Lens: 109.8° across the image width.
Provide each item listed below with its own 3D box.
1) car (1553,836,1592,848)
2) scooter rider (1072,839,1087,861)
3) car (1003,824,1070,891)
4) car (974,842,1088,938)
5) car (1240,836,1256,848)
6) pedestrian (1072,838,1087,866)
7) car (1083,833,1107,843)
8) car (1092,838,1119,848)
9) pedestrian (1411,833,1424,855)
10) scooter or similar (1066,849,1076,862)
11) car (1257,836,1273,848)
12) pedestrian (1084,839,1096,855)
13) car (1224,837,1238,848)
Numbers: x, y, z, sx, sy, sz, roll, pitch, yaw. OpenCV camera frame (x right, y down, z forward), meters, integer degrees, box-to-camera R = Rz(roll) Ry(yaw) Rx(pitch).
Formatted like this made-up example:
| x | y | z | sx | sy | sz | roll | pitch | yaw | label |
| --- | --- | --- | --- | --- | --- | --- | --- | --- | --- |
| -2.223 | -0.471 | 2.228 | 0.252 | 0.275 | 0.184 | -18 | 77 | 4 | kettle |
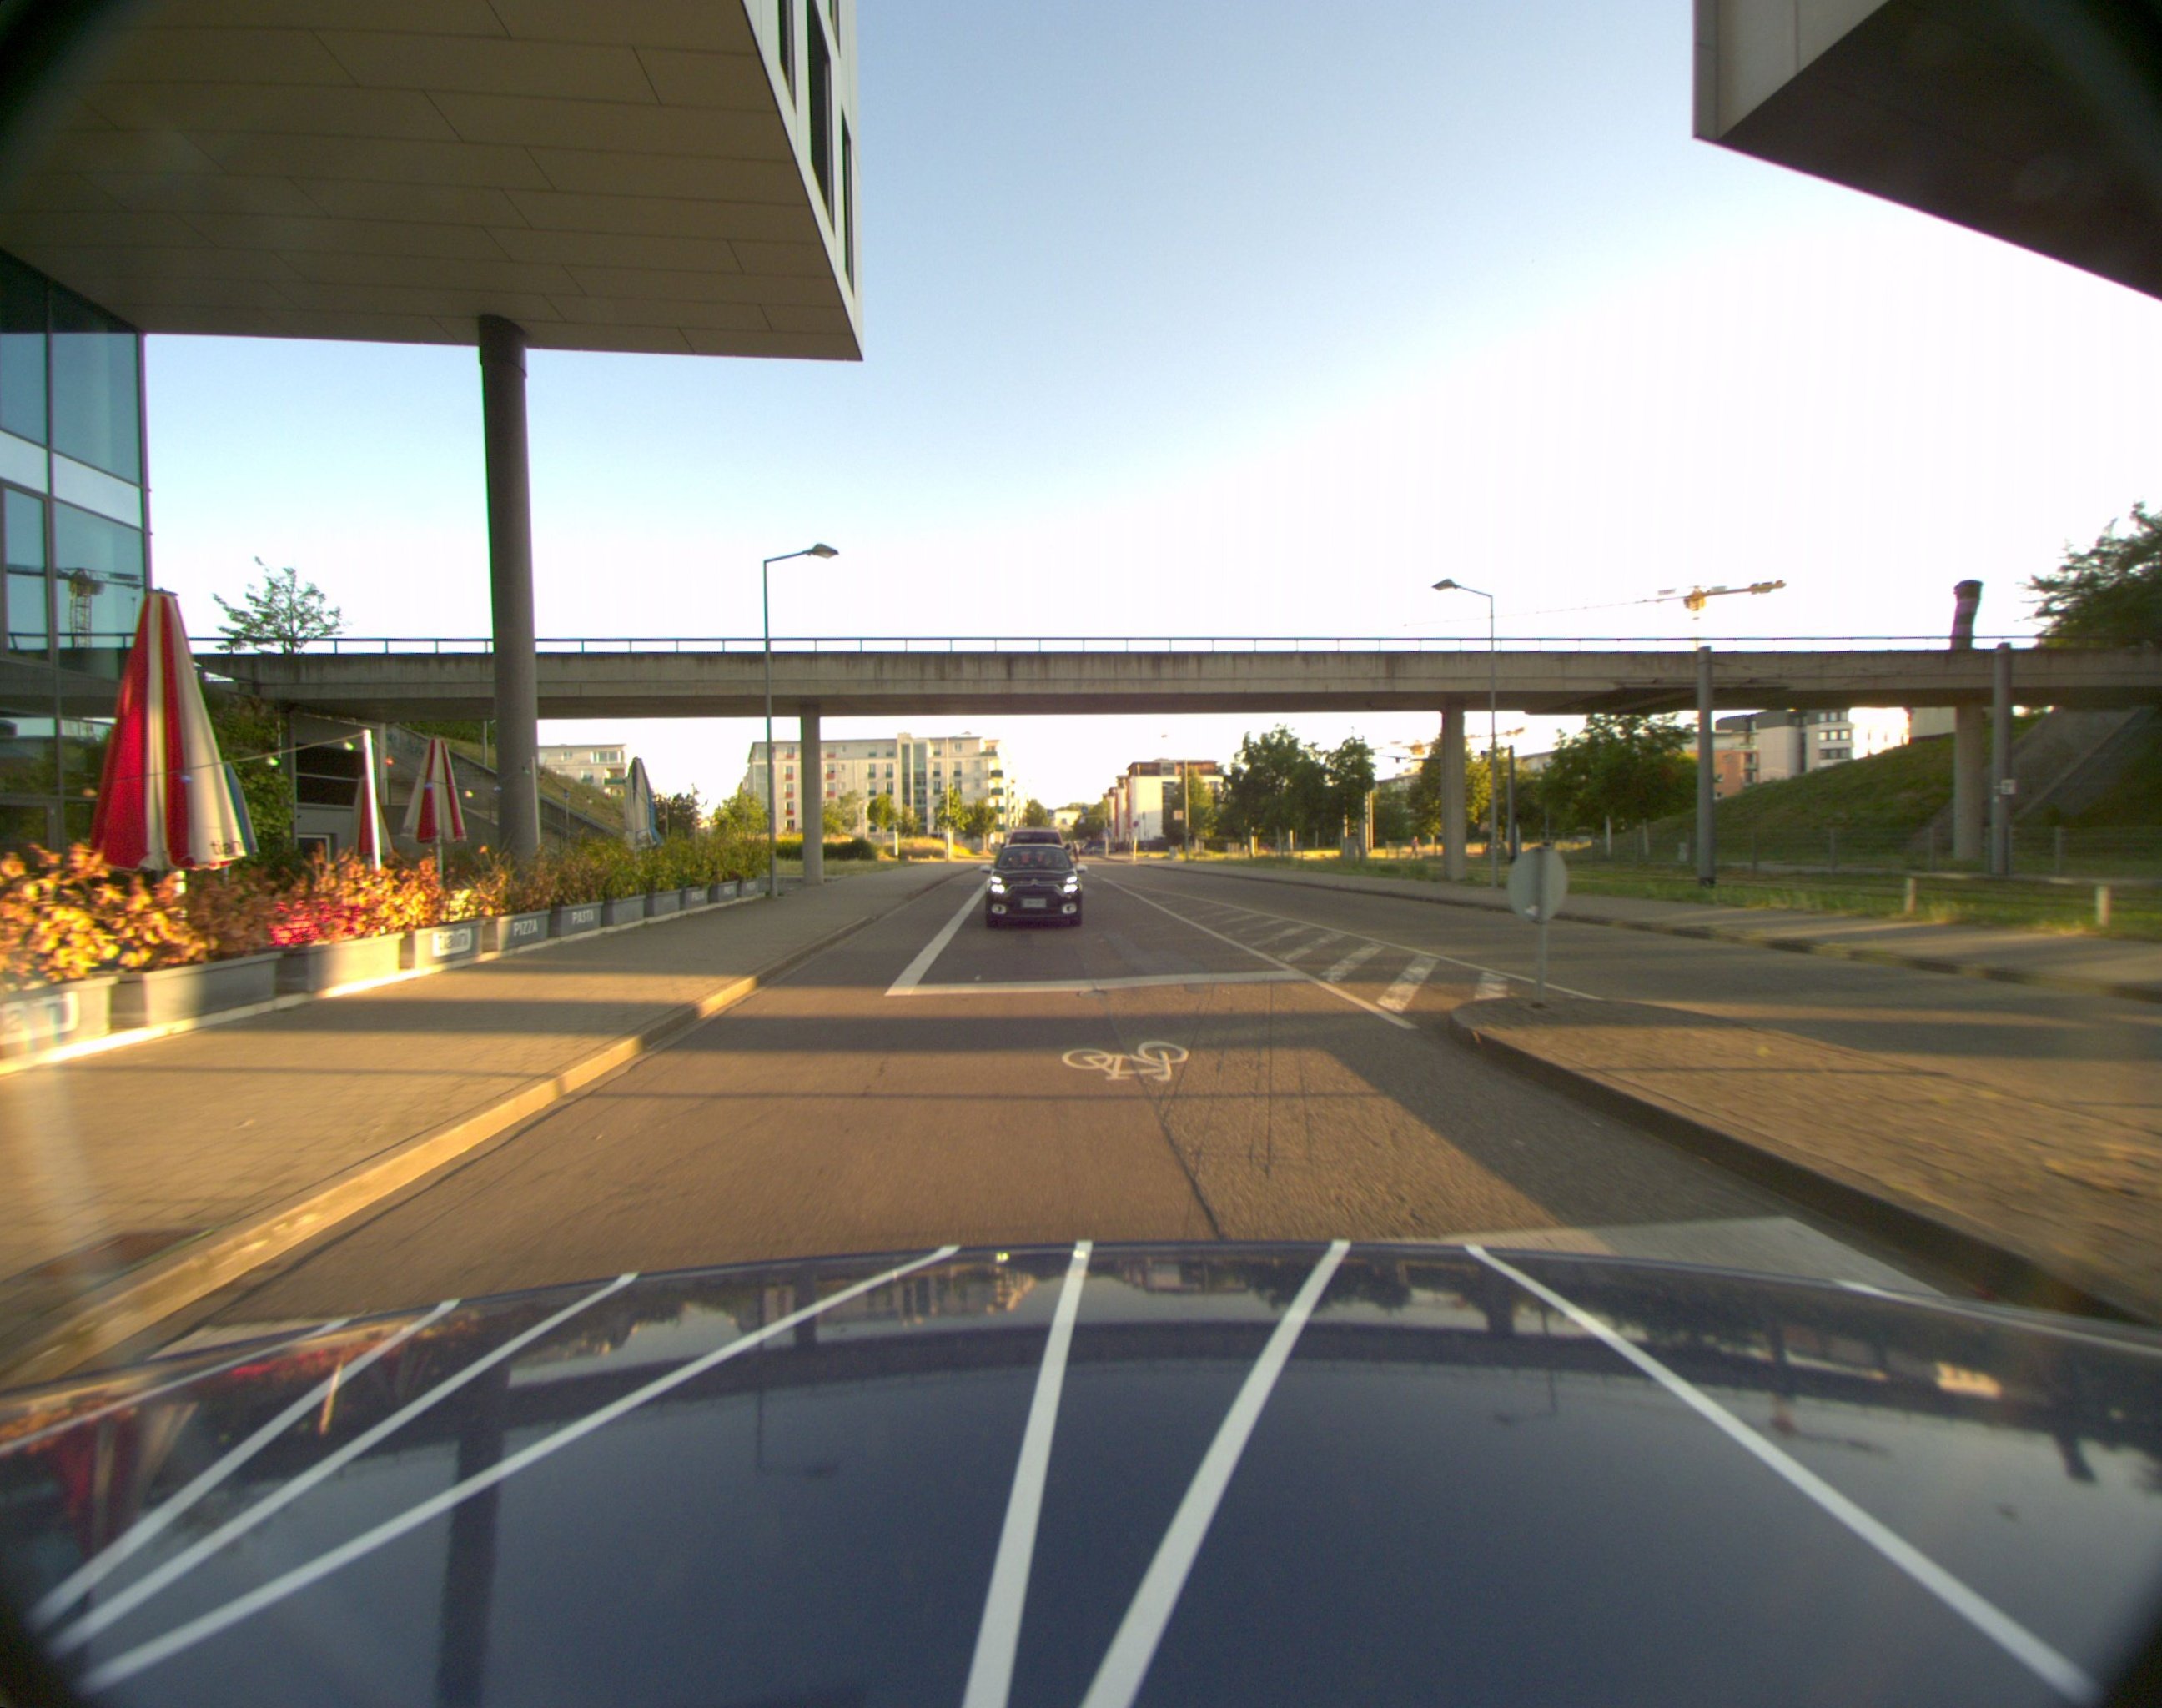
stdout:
| x | y | z | sx | sy | sz | roll | pitch | yaw | label |
| --- | --- | --- | --- | --- | --- | --- | --- | --- | --- |
| 67.869 | -1.718 | 104.939 | 3.995 | 1.554 | 2.000 | -1 | 1 | 6 | car |
| -0.115 | -0.261 | 55.187 | 0.897 | 1.568 | 0.712 | -1 | 2 | 13 | scooter rider |
| -1.501 | 0.065 | 25.329 | 1.931 | 1.979 | 4.819 | -2 | 1 | -4 | car |
| -0.805 | 0.565 | 14.578 | 1.759 | 1.543 | 4.071 | -1 | 1 | 2 | car |
| 24.703 | -1.767 | 112.717 | 1.870 | 1.711 | 3.846 | -1 | 1 | 6 | car |
| -0.103 | -0.144 | 54.452 | 0.956 | 2.002 | 0.630 | -1 | 2 | 8 | pedestrian |
| 2.961 | -3.391 | 158.759 | 4.747 | 2.002 | 1.998 | -1 | 2 | -6 | car |
| 4.174 | -1.850 | 128.654 | 4.388 | 1.551 | 1.839 | -1 | 2 | -2 | car |
| 25.001 | -0.739 | 56.491 | 0.779 | 1.602 | 0.417 | -1 | 2 | 9 | pedestrian |
| -0.717 | 0.114 | 55.340 | 0.552 | 0.890 | 0.723 | 1 | 2 | 13 | scooter or similar |
| 27.228 | -1.811 | 112.594 | 1.869 | 1.711 | 3.846 | -1 | 1 | 8 | car |
| 1.085 | -0.876 | 95.721 | 1.088 | 2.002 | 1.141 | 0 | 3 | 26 | pedestrian |
| 22.342 | -1.724 | 112.938 | 1.869 | 1.711 | 3.847 | -1 | 1 | 9 | car |
